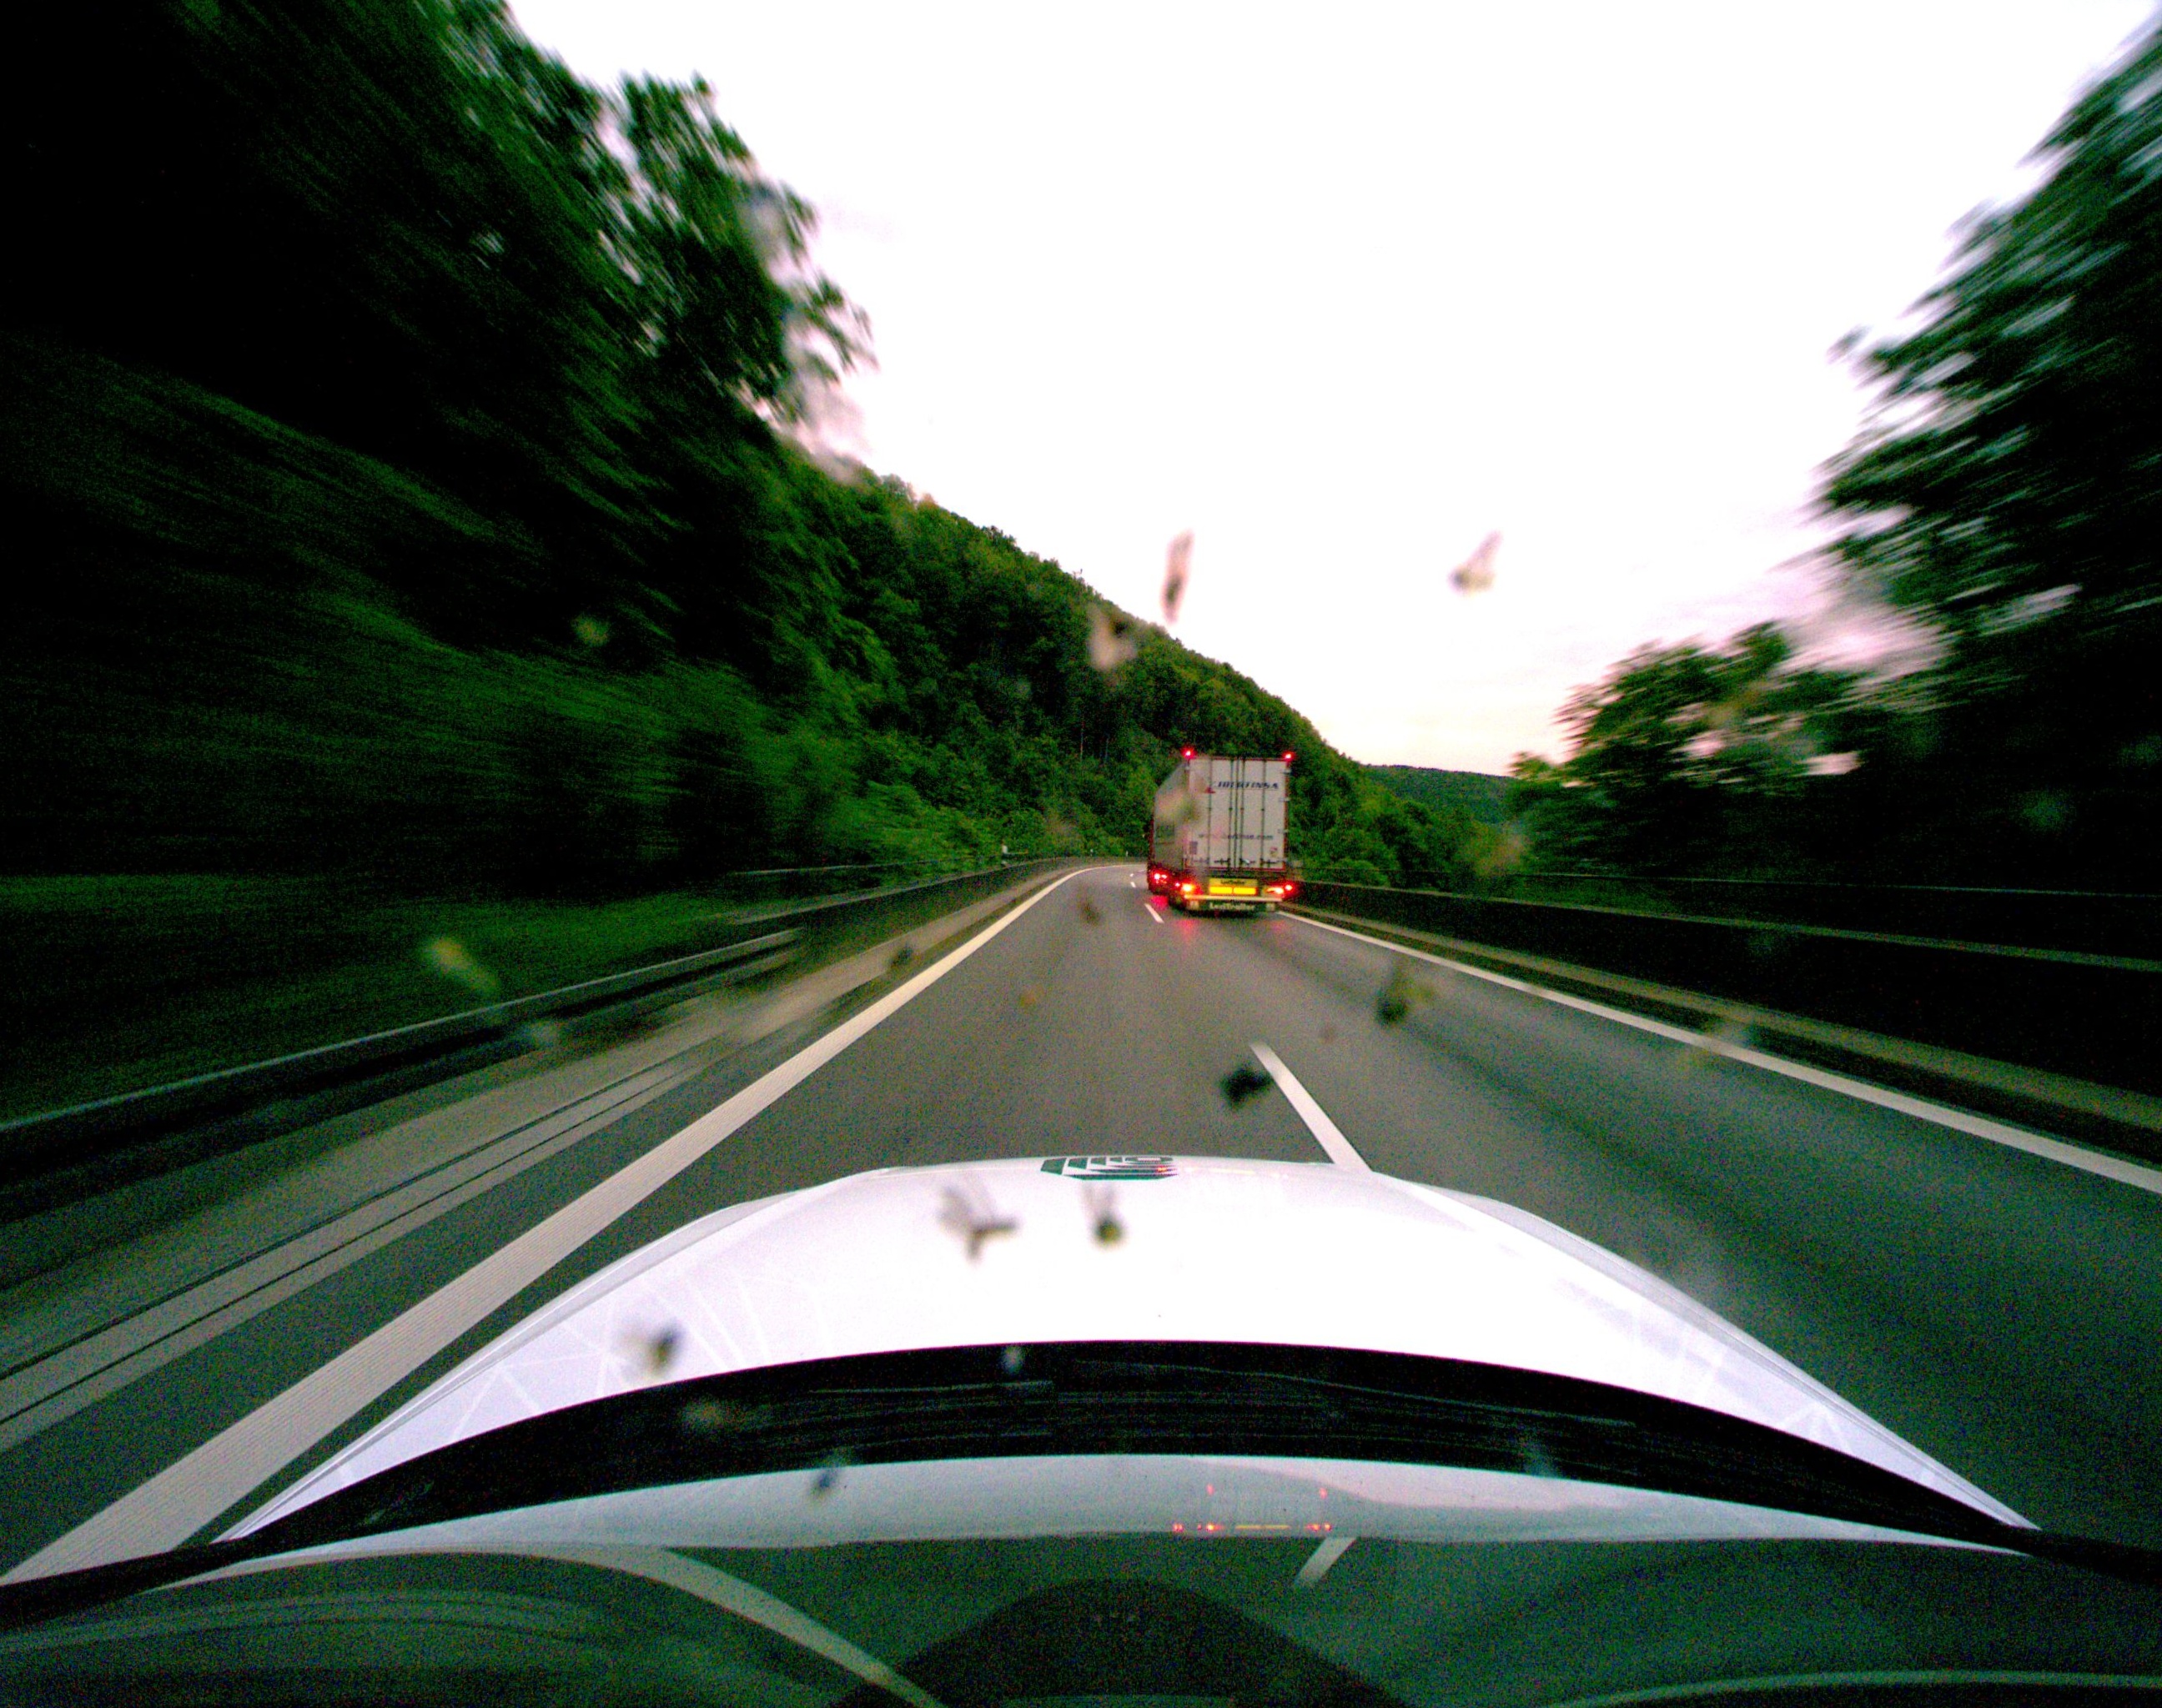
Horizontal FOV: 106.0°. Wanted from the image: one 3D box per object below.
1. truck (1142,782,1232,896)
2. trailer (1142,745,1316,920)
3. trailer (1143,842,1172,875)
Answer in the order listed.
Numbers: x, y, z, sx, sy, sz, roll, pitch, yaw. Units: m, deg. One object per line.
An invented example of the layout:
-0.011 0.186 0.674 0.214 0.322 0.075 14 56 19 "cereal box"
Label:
4.145 -0.546 33.243 3.057 4.144 6.450 1 0 2 "truck"
4.040 -0.513 26.379 3.086 3.970 14.220 3 0 1 "trailer"
6.180 0.298 65.530 2.045 2.374 5.948 5 1 6 "trailer"
